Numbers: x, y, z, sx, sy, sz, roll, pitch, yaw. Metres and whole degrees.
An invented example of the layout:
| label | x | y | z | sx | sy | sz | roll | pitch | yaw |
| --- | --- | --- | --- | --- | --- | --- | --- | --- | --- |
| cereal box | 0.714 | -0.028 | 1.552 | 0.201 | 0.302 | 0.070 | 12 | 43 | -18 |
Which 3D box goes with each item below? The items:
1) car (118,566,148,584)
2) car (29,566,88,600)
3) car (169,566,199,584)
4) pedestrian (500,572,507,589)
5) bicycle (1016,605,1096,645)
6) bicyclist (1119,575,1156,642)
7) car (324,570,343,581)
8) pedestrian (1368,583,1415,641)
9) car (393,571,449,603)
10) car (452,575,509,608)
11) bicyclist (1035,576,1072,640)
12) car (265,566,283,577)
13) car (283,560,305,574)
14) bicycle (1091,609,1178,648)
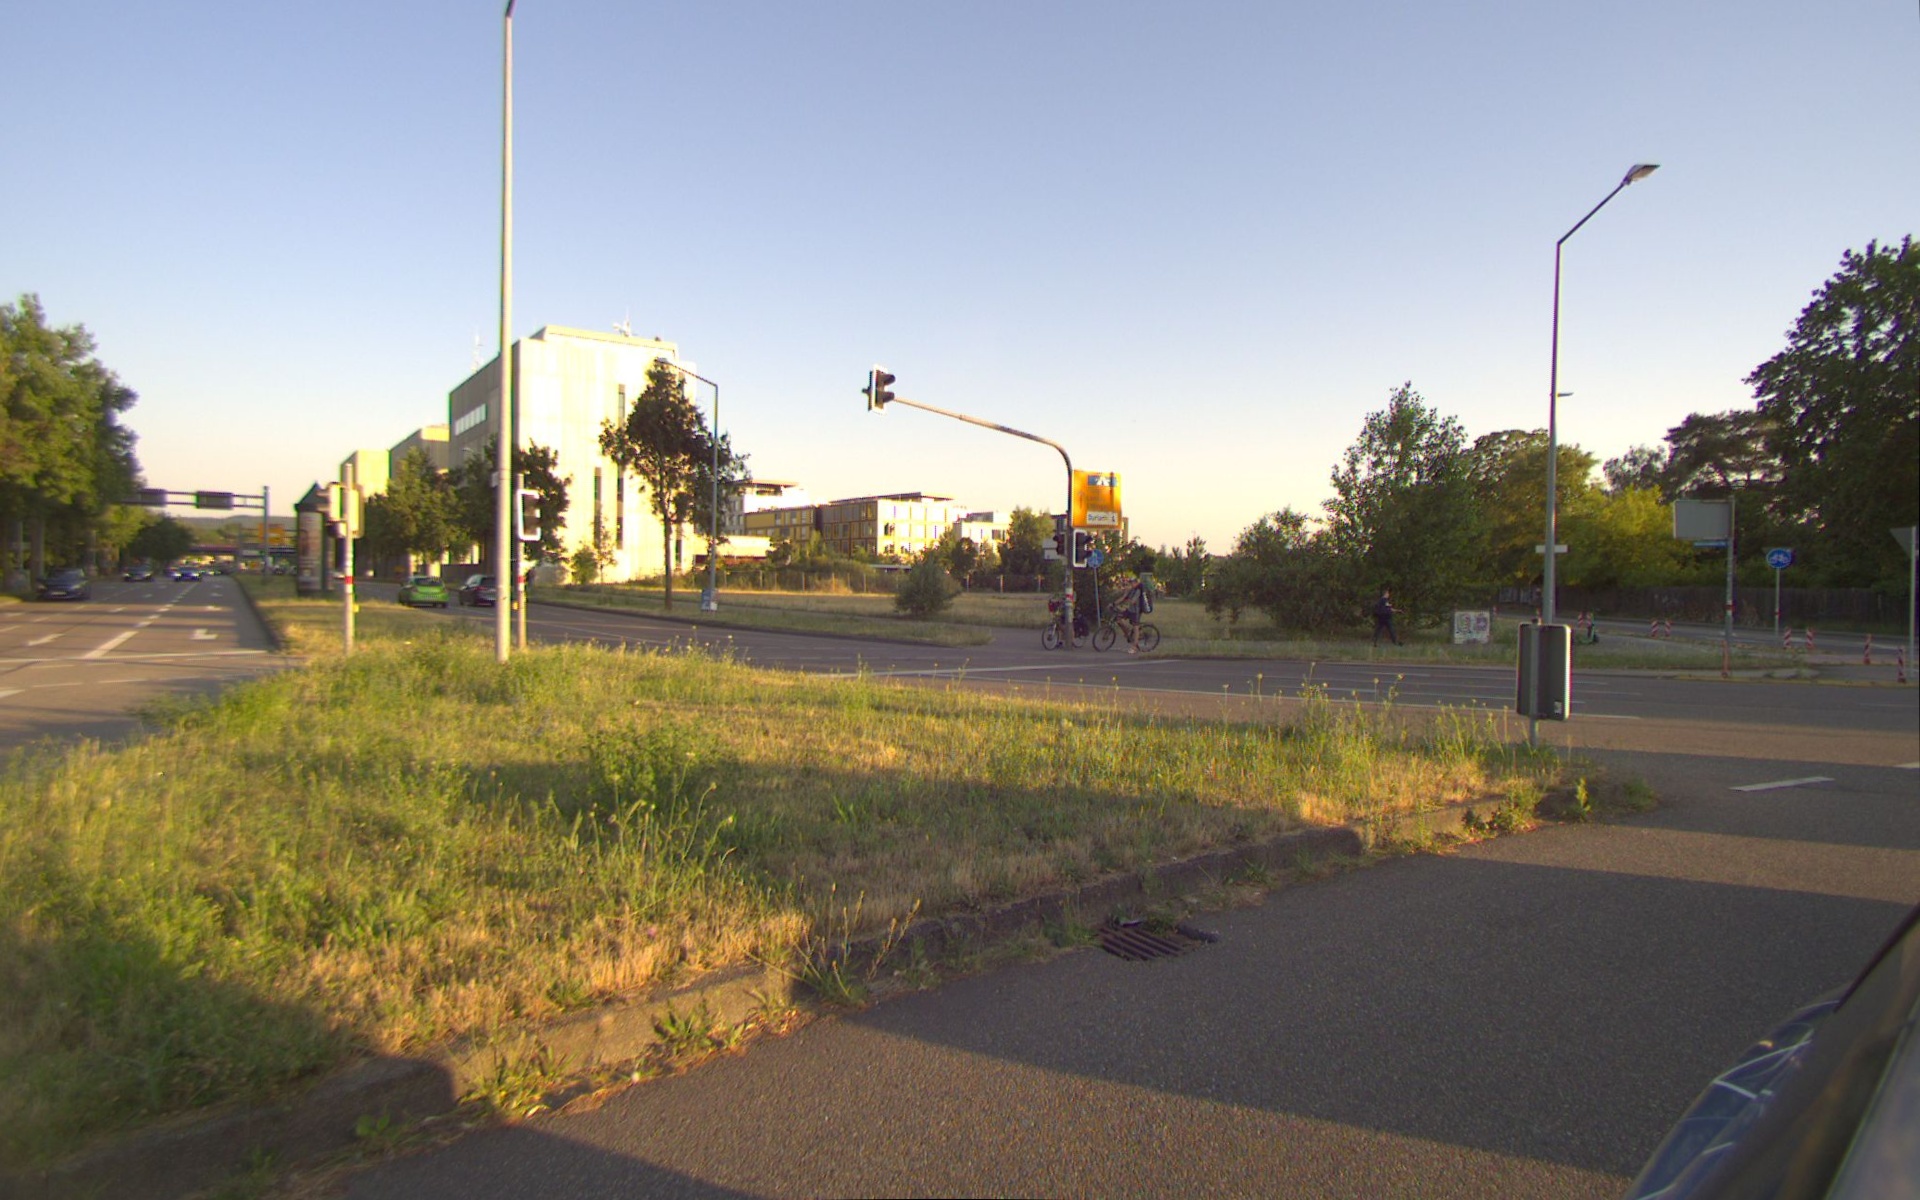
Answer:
| label | x | y | z | sx | sy | sz | roll | pitch | yaw |
| --- | --- | --- | --- | --- | --- | --- | --- | --- | --- |
| car | -71.581 | -2.184 | 87.642 | 1.964 | 1.524 | 4.617 | 0 | 1 | -39 |
| car | -44.529 | -0.857 | 50.043 | 1.881 | 1.603 | 4.178 | 0 | 1 | -38 |
| car | -68.357 | -2.248 | 89.158 | 1.963 | 1.524 | 4.771 | 0 | 1 | -36 |
| pedestrian | -40.600 | -1.731 | 90.020 | 0.492 | 1.531 | 0.530 | 0 | 1 | -35 |
| bicycle | 2.600 | 0.662 | 27.334 | 2.065 | 0.975 | 0.711 | -2 | 2 | -27 |
| bicyclist | 4.600 | 0.212 | 26.251 | 0.674 | 1.711 | 0.727 | 1 | 1 | -13 |
| car | -89.368 | -3.529 | 144.380 | 1.962 | 1.445 | 4.198 | 0 | 1 | -36 |
| pedestrian | 12.337 | 0.329 | 28.961 | 0.974 | 1.610 | 0.925 | 1 | 1 | 5 |
| car | -25.118 | -0.623 | 47.123 | 1.659 | 1.438 | 3.998 | 0 | 1 | -38 |
| car | -24.441 | -0.460 | 51.530 | 1.702 | 1.597 | 4.327 | 0 | 1 | -38 |
| bicyclist | 2.514 | 0.211 | 27.316 | 0.675 | 1.711 | 0.726 | 0 | 1 | -29 |
| car | -100.349 | -4.188 | 147.980 | 1.963 | 1.649 | 3.998 | 0 | 1 | -37 |
| car | -81.312 | -3.966 | 123.552 | 1.963 | 1.649 | 3.999 | 0 | 1 | -37 |
| bicycle | 4.527 | 0.735 | 26.230 | 2.100 | 0.975 | 0.711 | 1 | 1 | -15 |
